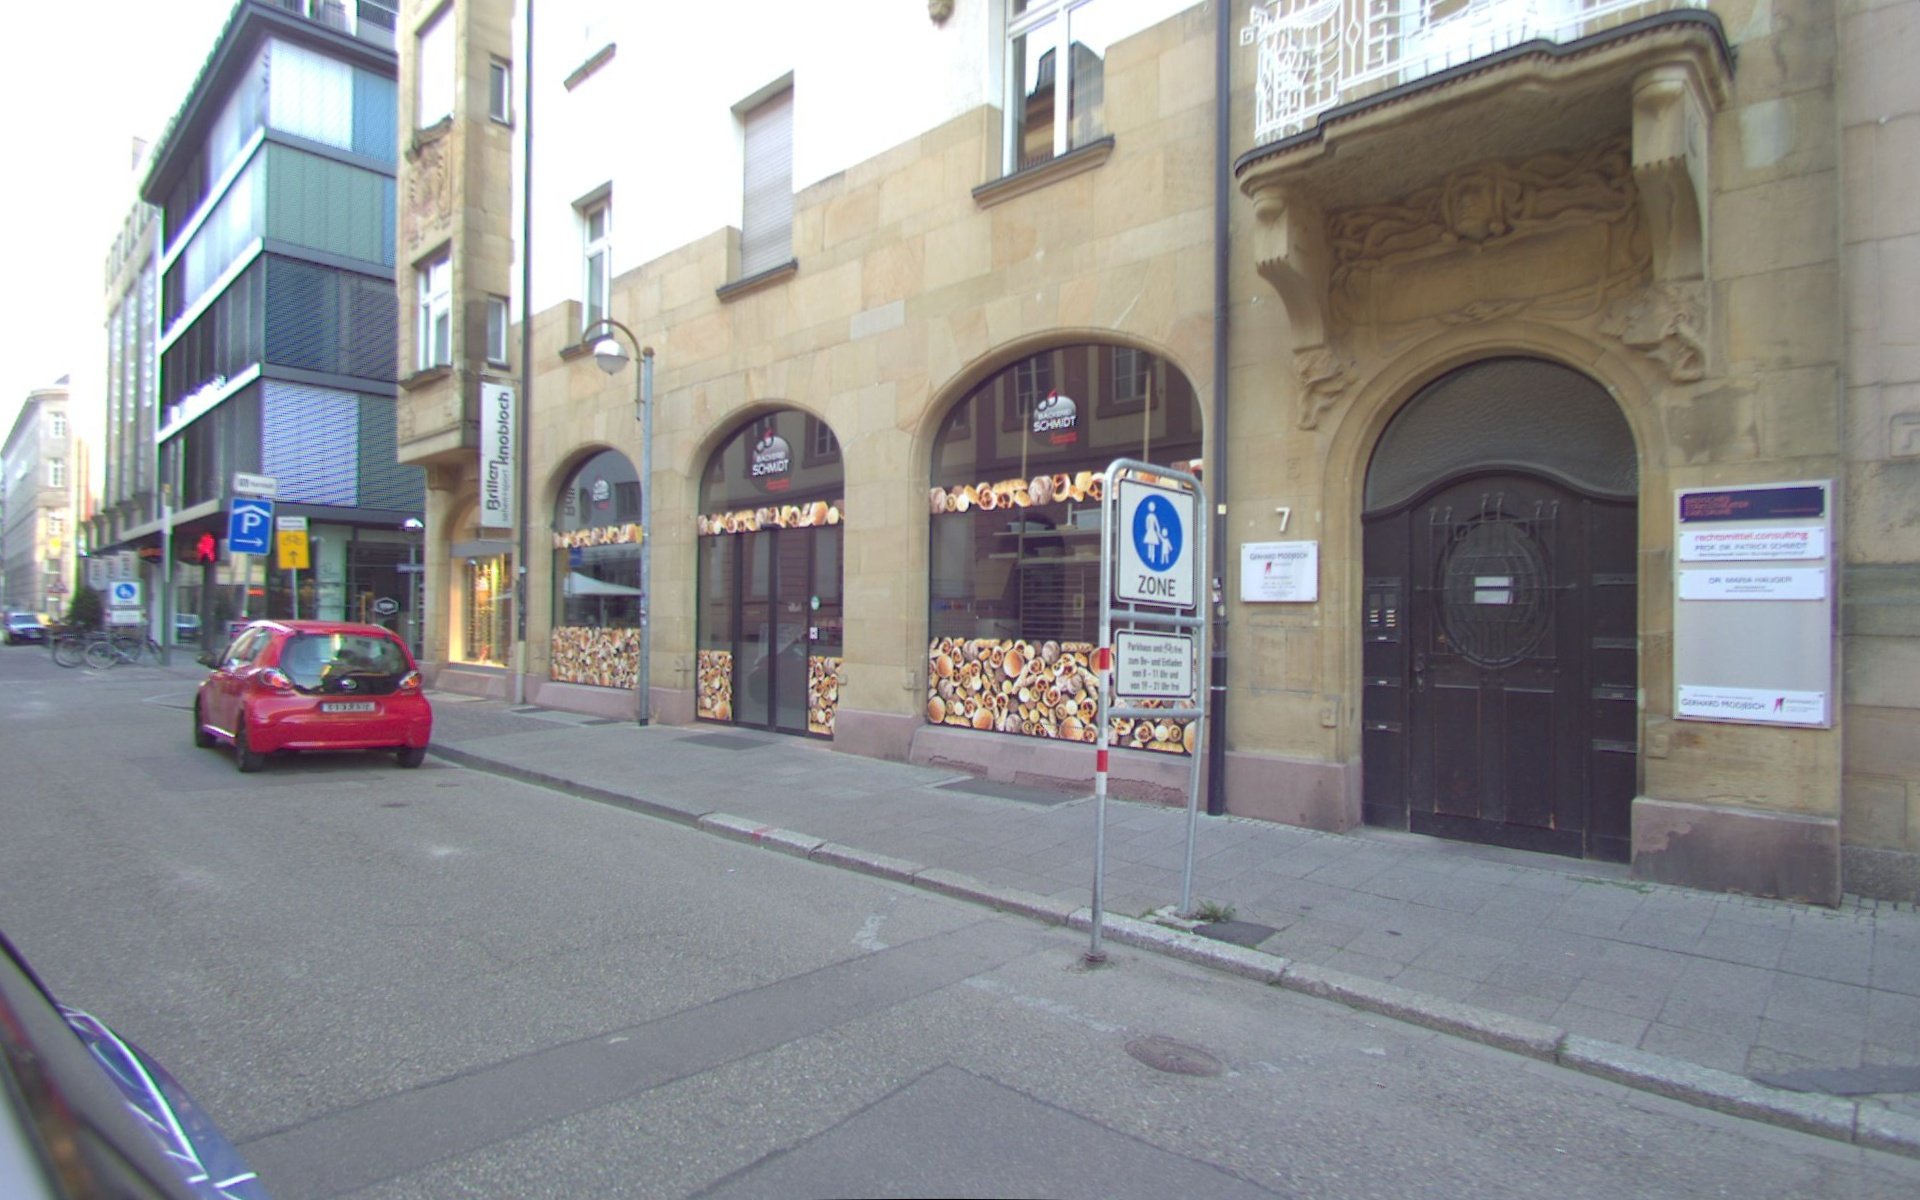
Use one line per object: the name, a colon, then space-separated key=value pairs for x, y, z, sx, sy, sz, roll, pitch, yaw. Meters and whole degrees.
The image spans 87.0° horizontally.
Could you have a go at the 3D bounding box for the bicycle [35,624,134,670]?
bicycle: x=-23.177 y=1.224 z=26.823 sx=0.620 sy=1.139 sz=1.926 roll=-1 pitch=-1 yaw=44

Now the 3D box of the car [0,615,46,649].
car: x=-41.922 y=1.393 z=45.149 sx=3.895 sy=1.428 sz=1.406 roll=-1 pitch=-1 yaw=44

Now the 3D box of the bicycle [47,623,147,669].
bicycle: x=-22.407 y=1.172 z=26.313 sx=0.620 sy=1.139 sz=1.926 roll=-1 pitch=-1 yaw=44

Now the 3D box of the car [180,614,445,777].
car: x=-6.933 y=0.930 z=10.735 sx=3.158 sy=1.452 sz=1.615 roll=-1 pitch=-5 yaw=44

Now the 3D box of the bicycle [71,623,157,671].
bicycle: x=-21.164 y=1.158 z=25.329 sx=0.620 sy=1.127 sz=1.585 roll=-1 pitch=-1 yaw=44

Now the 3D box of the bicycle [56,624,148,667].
bicycle: x=-24.106 y=1.258 z=28.465 sx=0.526 sy=1.139 sz=1.926 roll=-1 pitch=-1 yaw=44
